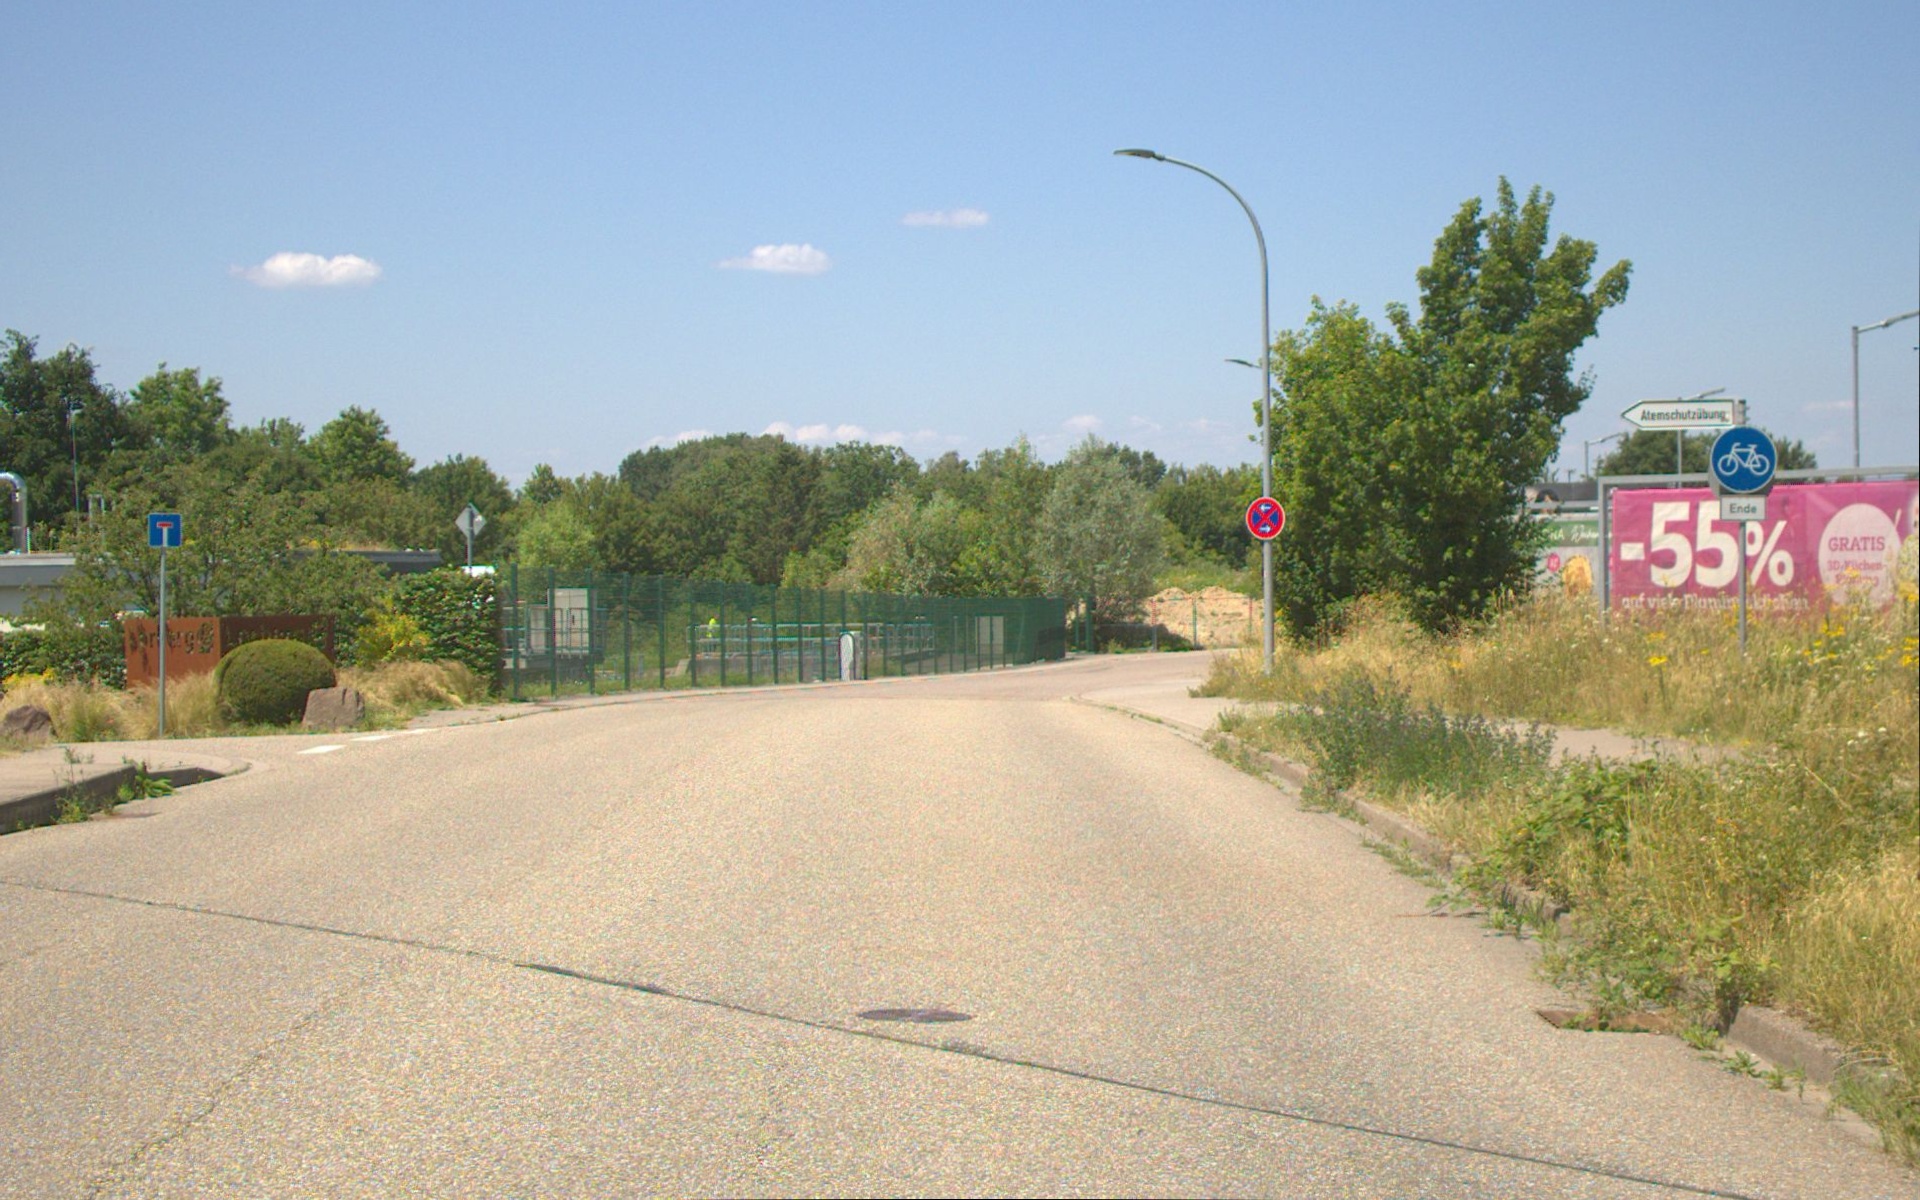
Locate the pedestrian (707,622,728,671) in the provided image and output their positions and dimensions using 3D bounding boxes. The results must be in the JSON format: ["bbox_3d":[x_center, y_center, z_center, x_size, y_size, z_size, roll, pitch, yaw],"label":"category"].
[{"bbox_3d":[-9.137,1.736,129.402,0.606,1.833,0.804,-1,-1,8],"label":"pedestrian"}]
